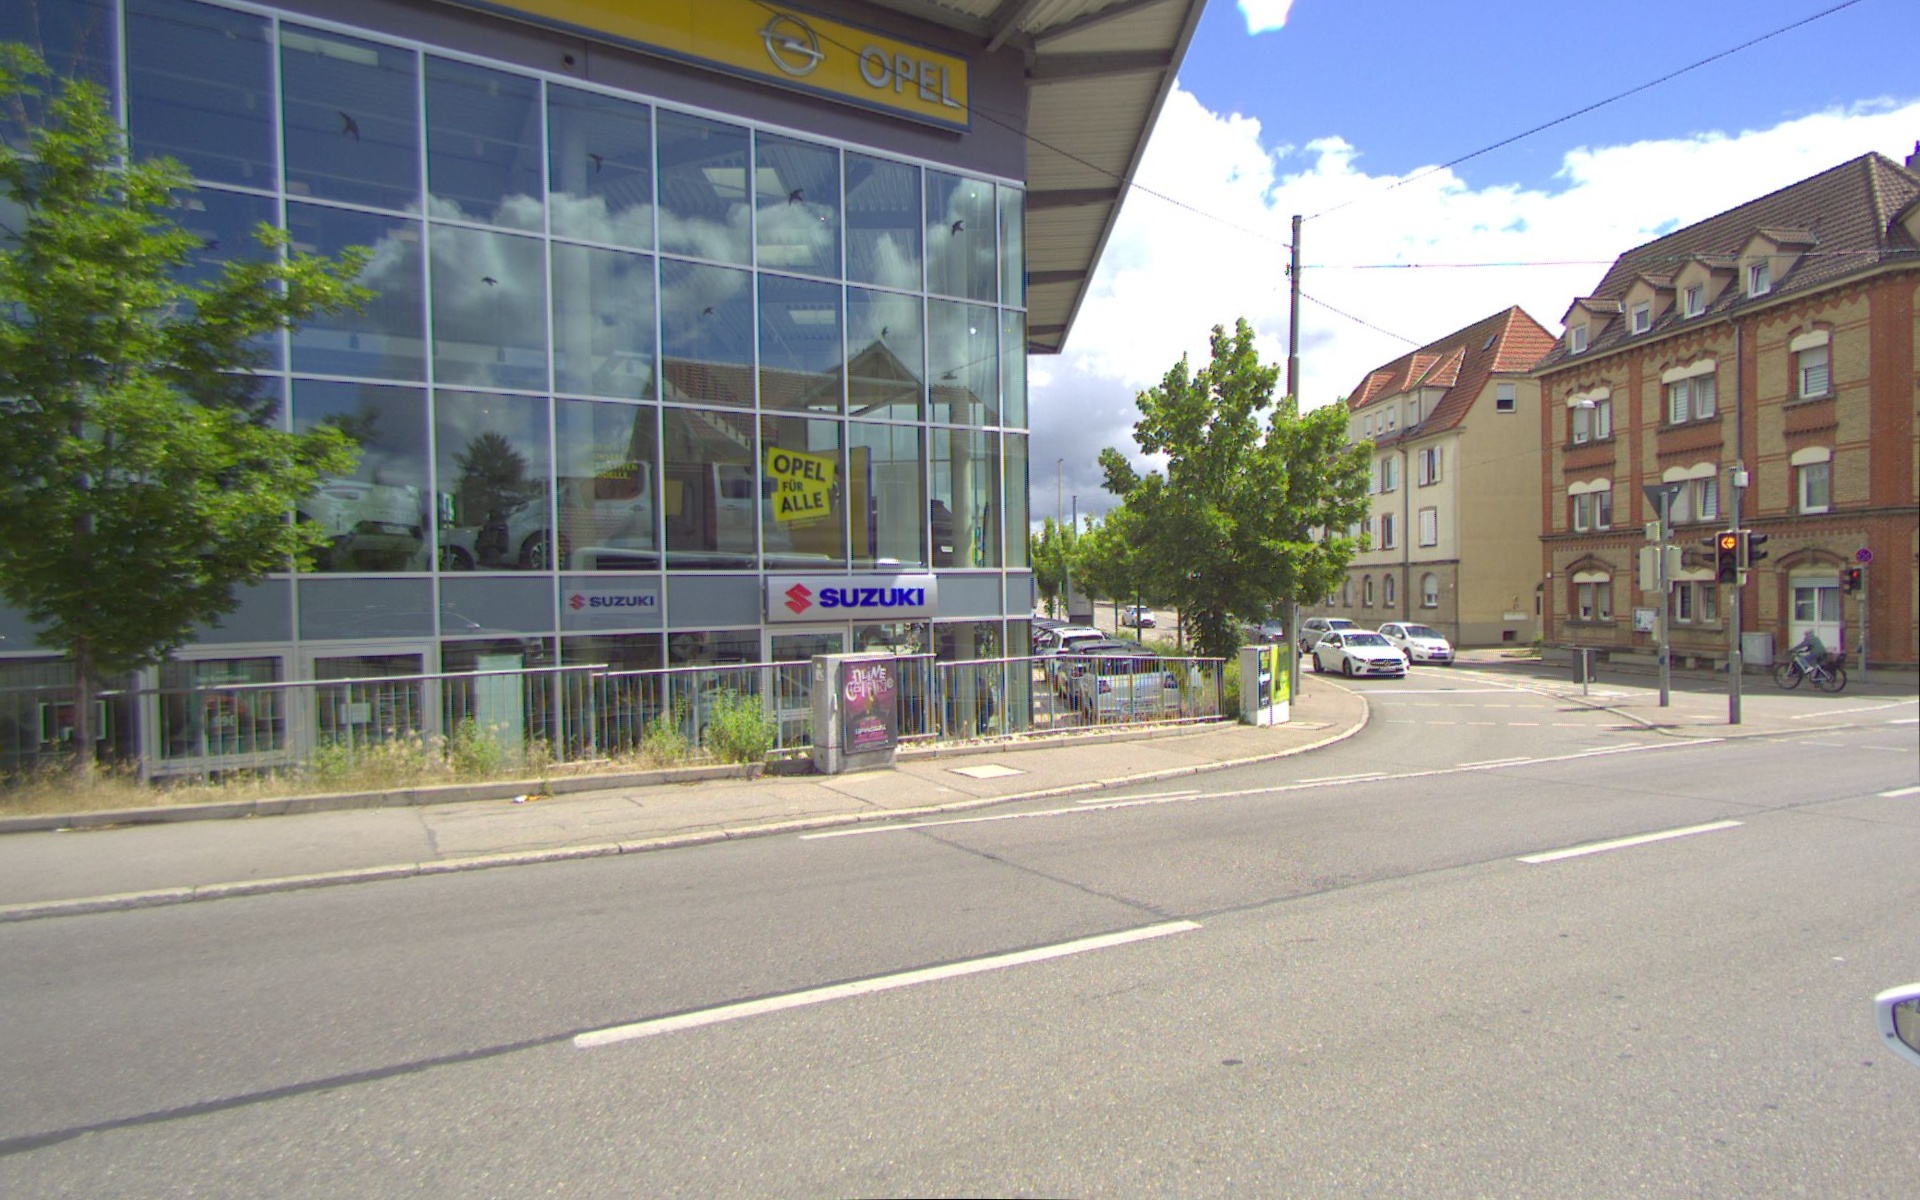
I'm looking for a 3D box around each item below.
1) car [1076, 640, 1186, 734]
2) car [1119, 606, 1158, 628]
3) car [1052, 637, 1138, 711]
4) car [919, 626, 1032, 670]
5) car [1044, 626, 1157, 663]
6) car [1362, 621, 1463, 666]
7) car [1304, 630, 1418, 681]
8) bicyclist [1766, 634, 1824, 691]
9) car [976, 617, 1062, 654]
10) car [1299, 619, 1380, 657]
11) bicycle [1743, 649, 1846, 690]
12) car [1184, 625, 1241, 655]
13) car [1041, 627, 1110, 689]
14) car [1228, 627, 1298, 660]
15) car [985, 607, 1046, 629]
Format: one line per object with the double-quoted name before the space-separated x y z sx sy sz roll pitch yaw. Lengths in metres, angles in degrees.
"car" 3.393 1.690 20.540 1.720 1.596 3.687 2 -1 2
"car" 13.180 1.239 74.560 1.961 1.607 4.345 1 0 -2
"car" 3.229 1.756 24.689 1.487 1.543 3.792 1 -1 -2
"car" 0.593 1.750 37.238 3.919 1.478 1.605 1 -1 15
"car" 5.164 1.634 37.200 3.921 1.202 1.818 1 -1 0
"car" 17.061 1.608 38.078 1.670 1.517 3.995 1 -1 -7
"car" 12.705 1.714 32.167 1.826 1.466 4.391 1 -1 -1
"bicyclist" 22.948 1.700 27.619 0.581 1.519 1.069 1 -1 -21
"car" 2.646 1.586 45.858 1.974 1.599 4.476 1 -1 -26
"car" 16.734 1.641 44.503 1.715 1.539 3.996 1 -1 -7
"bicycle" 22.932 1.884 27.662 0.597 1.033 2.181 1 -1 -21
"car" 14.619 2.275 58.398 1.963 1.664 3.996 1 -1 -7
"car" 3.278 1.634 29.083 1.487 1.596 3.414 1 -1 -2
"car" 15.331 2.184 51.009 1.963 1.539 3.996 1 -1 -7
"car" 3.628 1.170 66.151 3.921 1.311 1.818 1 -1 0
